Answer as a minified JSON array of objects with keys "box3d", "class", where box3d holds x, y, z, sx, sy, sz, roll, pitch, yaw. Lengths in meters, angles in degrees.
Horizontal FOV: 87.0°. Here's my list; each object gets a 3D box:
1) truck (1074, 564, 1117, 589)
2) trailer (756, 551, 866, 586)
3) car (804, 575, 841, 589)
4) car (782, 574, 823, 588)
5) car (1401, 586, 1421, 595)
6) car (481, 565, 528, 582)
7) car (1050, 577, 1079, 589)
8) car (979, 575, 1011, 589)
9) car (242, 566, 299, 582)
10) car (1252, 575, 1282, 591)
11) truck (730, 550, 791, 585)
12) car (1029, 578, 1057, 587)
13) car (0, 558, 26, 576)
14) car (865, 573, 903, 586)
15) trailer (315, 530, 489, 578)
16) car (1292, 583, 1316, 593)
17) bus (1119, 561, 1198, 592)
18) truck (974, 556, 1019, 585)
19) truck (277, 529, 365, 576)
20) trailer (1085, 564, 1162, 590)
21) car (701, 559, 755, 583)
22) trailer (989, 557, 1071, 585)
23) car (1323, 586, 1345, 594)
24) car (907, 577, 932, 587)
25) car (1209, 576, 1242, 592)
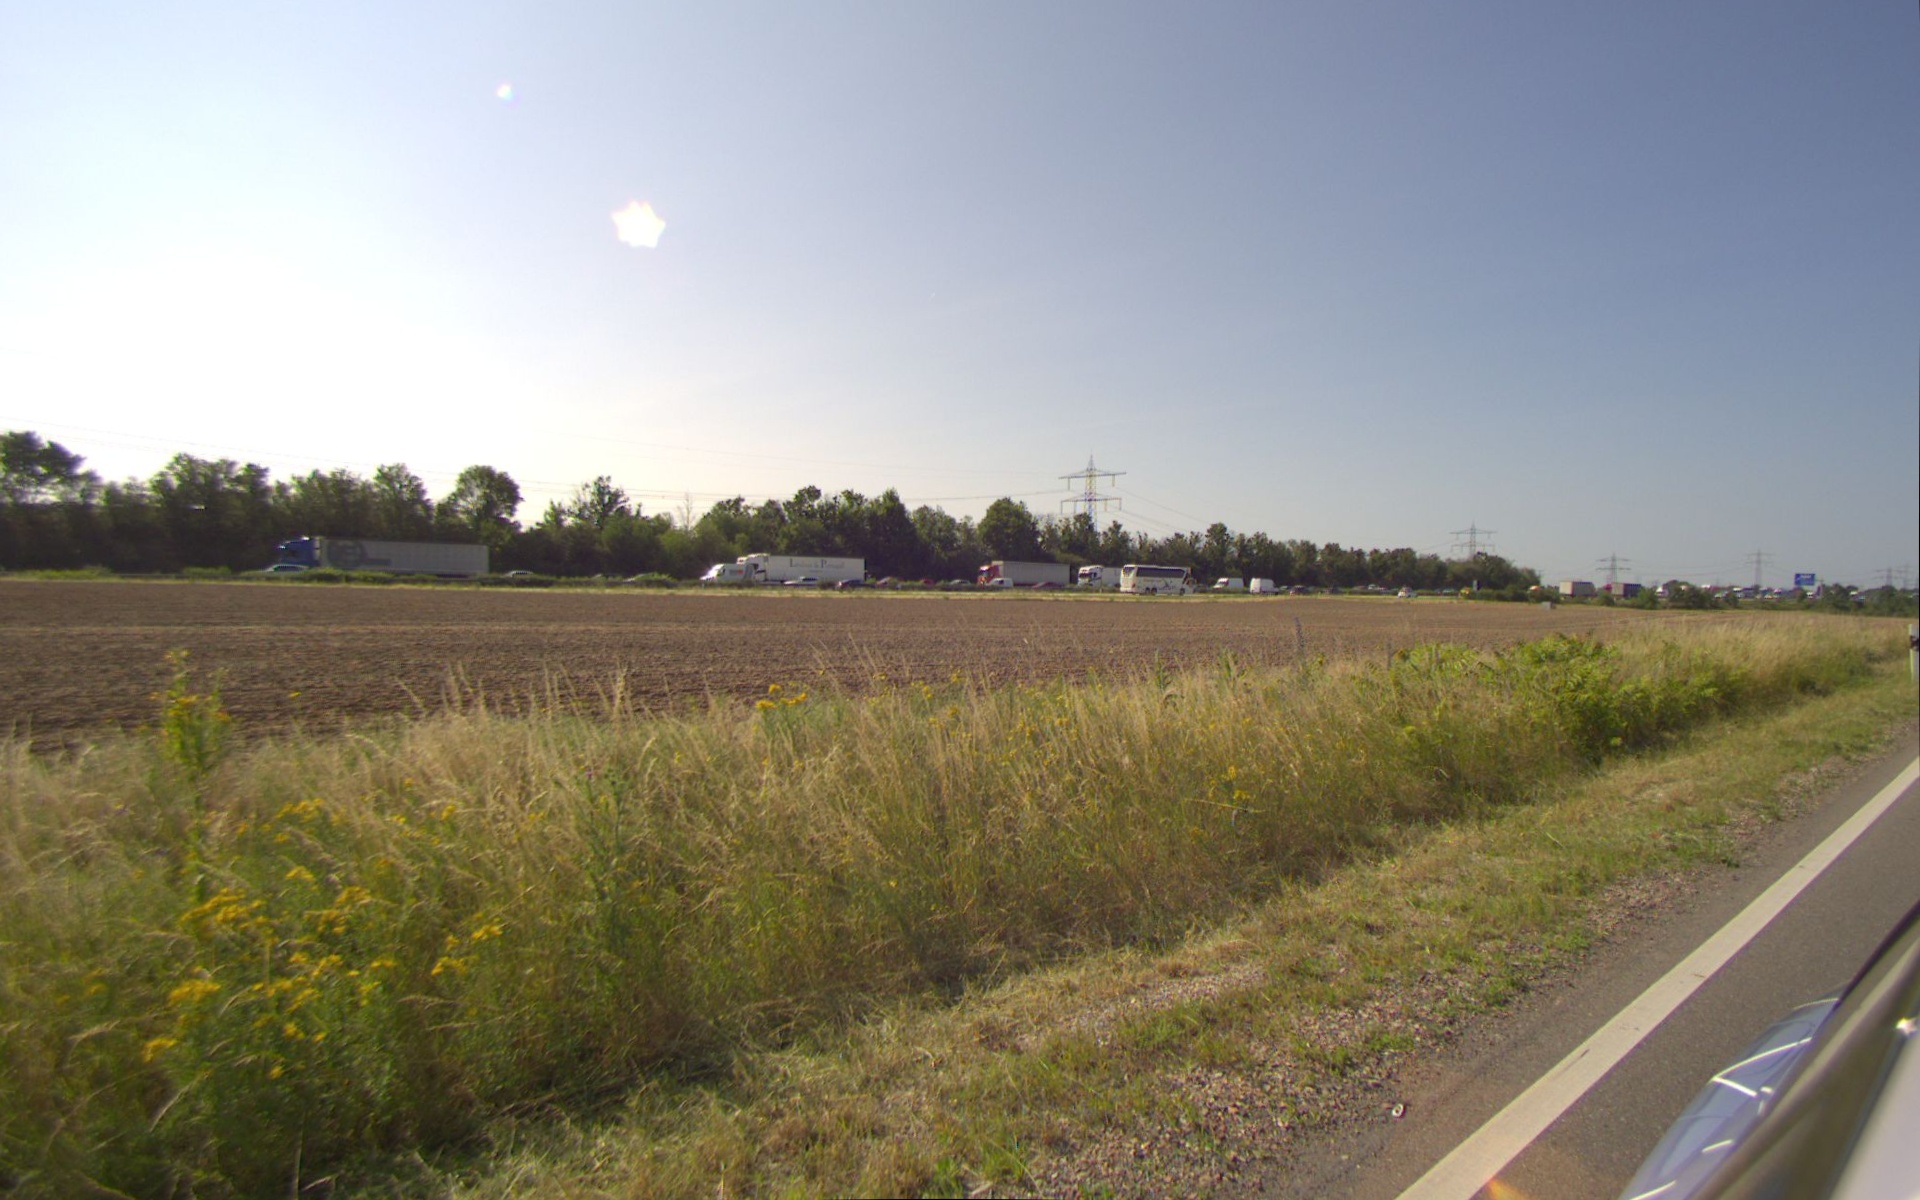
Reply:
[{"box3d":[20.437,-3.530,152.565,6.003,3.575,3.208,0,2,-42],"class":"truck"},{"box3d":[-17.376,-3.607,119.112,13.129,3.780,3.078,0,1,-40],"class":"trailer"},{"box3d":[-13.920,-1.797,102.499,3.556,1.250,1.548,1,-2,-42],"class":"car"},{"box3d":[-17.392,-2.095,111.971,4.174,1.403,1.853,1,0,-42],"class":"car"},{"box3d":[80.158,-1.687,179.850,4.124,1.562,1.705,-2,1,-41],"class":"car"},{"box3d":[-40.506,-2.354,90.103,3.540,1.403,1.494,1,0,-42],"class":"car"},{"box3d":[14.399,-2.300,139.009,4.023,1.528,1.705,0,0,-41],"class":"car"},{"box3d":[4.509,-2.330,130.500,4.023,1.659,1.705,0,0,-42],"class":"car"},{"box3d":[-53.265,-2.015,78.251,3.518,1.166,1.397,1,0,-41],"class":"car"},{"box3d":[48.018,-2.655,158.112,5.425,2.402,1.996,0,0,-41],"class":"car"},{"box3d":[-22.570,-3.601,114.649,6.009,3.780,3.078,0,1,-40],"class":"truck"},{"box3d":[11.191,-2.296,135.899,3.666,1.162,1.669,0,0,-41],"class":"car"},{"box3d":[-65.436,-2.275,68.544,3.126,1.166,1.397,1,0,-42],"class":"car"},{"box3d":[-8.950,-2.388,119.400,4.174,1.403,1.853,1,0,-42],"class":"car"},{"box3d":[-49.844,-4.007,90.885,13.387,3.780,3.078,0,1,-40],"class":"trailer"},{"box3d":[53.397,-1.870,157.109,4.136,1.492,1.706,0,0,-41],"class":"car"},{"box3d":[27.344,-3.139,138.760,14.297,3.851,2.466,1,1,-42],"class":"bus"},{"box3d":[5.028,-4.049,139.202,5.767,3.780,2.950,0,1,-41],"class":"truck"},{"box3d":[-54.764,-3.997,86.762,5.978,3.780,3.078,0,1,-40],"class":"truck"},{"box3d":[25.516,-3.525,157.092,14.822,3.575,3.208,0,2,-42],"class":"trailer"},{"box3d":[-24.052,-2.980,104.892,5.147,2.228,1.908,1,0,-42],"class":"car"},{"box3d":[10.078,-4.045,143.642,13.542,3.780,2.950,0,1,-41],"class":"trailer"},{"box3d":[63.603,-1.640,172.069,4.022,1.391,1.706,0,0,-41],"class":"car"},{"box3d":[-5.196,-2.280,130.165,3.235,1.234,1.342,0,0,-42],"class":"car"},{"box3d":[43.584,-2.653,166.250,6.300,2.478,2.041,0,1,-41],"class":"car"}]
